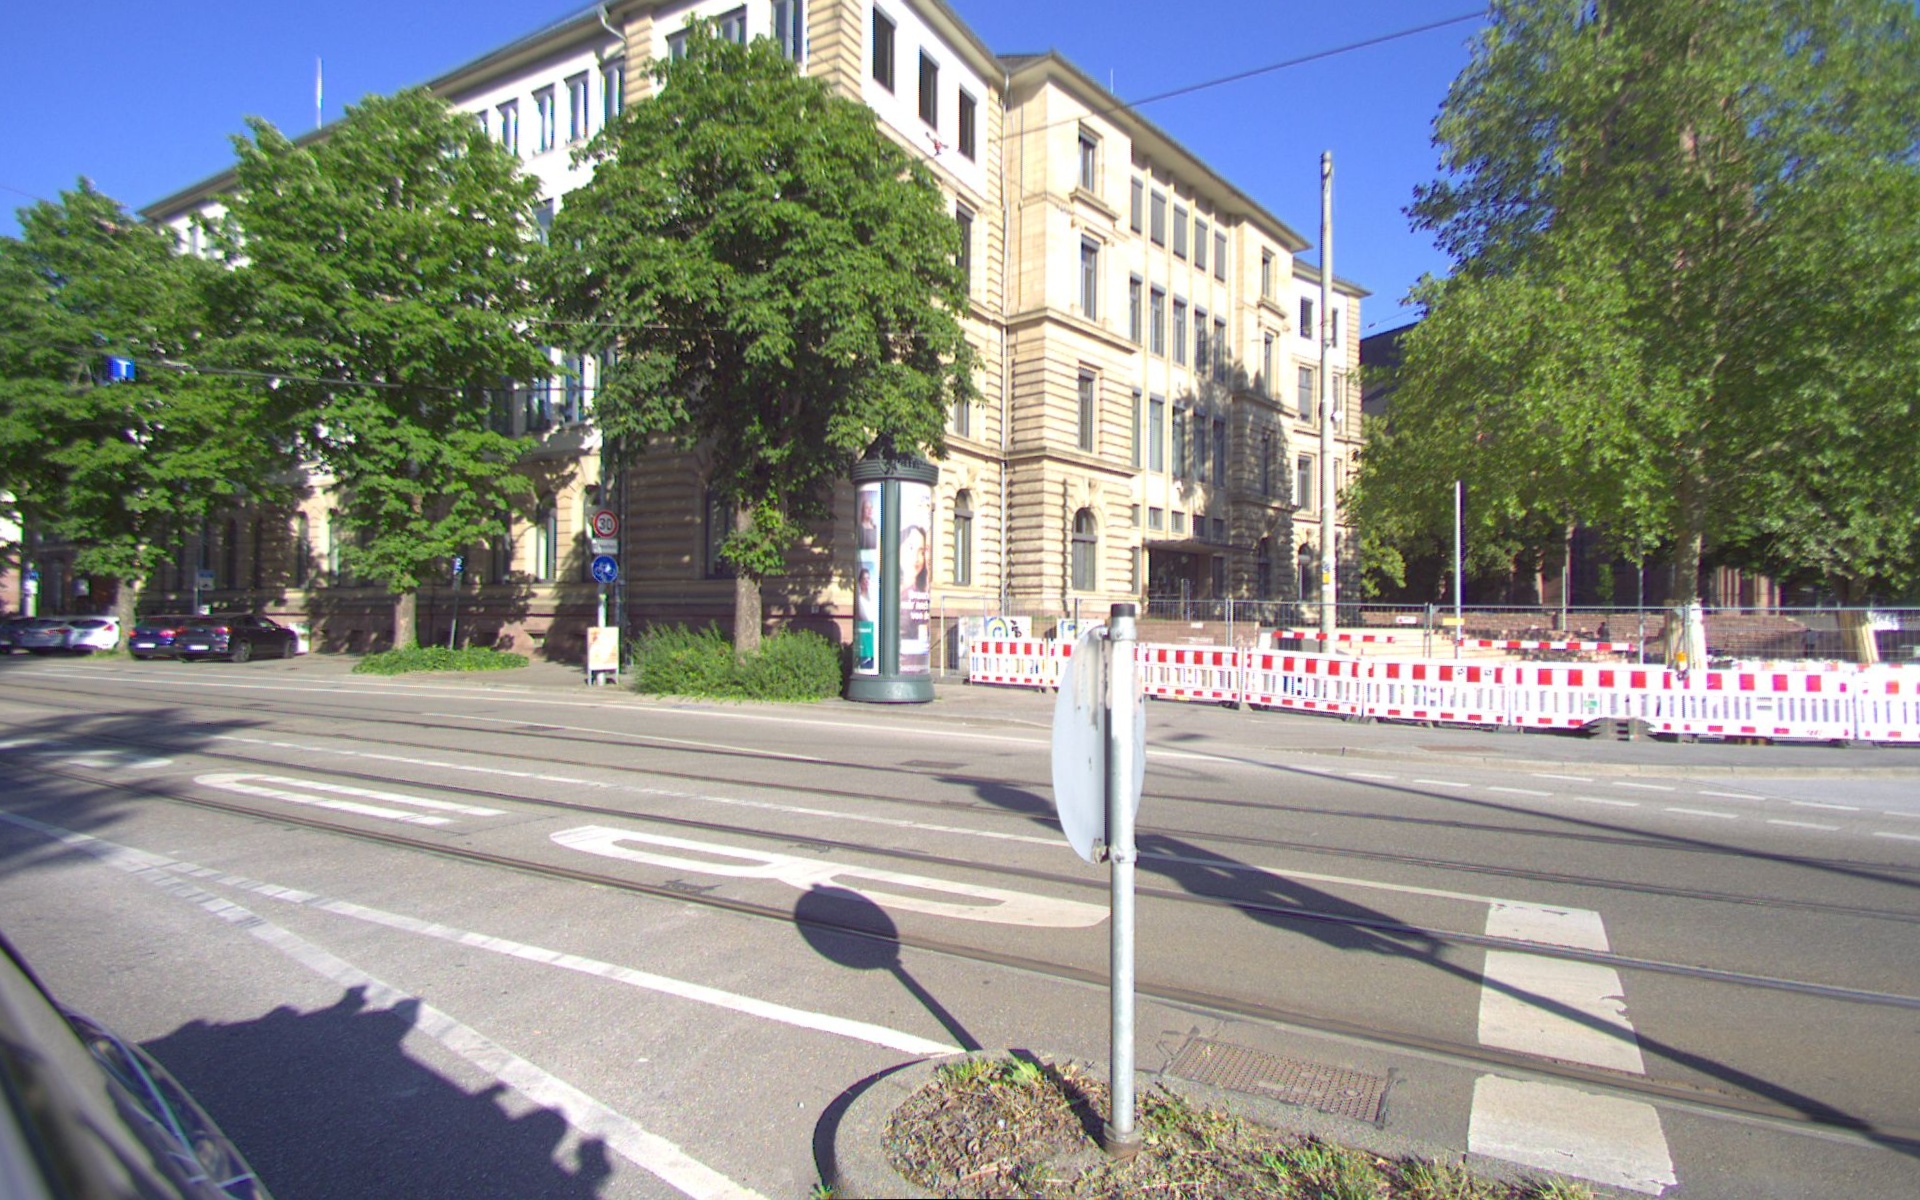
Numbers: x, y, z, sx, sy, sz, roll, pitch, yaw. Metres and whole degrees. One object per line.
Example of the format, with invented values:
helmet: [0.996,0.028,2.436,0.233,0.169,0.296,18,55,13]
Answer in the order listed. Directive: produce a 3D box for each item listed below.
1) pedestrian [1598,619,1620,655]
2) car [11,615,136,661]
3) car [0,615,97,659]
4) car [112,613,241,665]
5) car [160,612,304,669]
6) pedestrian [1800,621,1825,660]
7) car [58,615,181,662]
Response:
pedestrian: [30.561,1.731,47.630,0.627,1.660,0.677,1,-2,-37]
car: [-33.230,1.394,38.066,1.626,1.572,3.652,-1,0,-3]
car: [-36.246,1.416,39.775,1.626,1.572,3.652,-1,0,-3]
car: [-26.246,1.273,34.039,1.626,1.572,3.652,-1,0,-3]
car: [-23.616,1.263,33.037,1.819,1.643,4.184,-1,0,-3]
pedestrian: [36.852,1.729,43.748,0.666,1.660,0.762,1,-2,-45]
car: [-30.917,1.376,37.355,1.626,1.572,3.652,-1,0,-3]
